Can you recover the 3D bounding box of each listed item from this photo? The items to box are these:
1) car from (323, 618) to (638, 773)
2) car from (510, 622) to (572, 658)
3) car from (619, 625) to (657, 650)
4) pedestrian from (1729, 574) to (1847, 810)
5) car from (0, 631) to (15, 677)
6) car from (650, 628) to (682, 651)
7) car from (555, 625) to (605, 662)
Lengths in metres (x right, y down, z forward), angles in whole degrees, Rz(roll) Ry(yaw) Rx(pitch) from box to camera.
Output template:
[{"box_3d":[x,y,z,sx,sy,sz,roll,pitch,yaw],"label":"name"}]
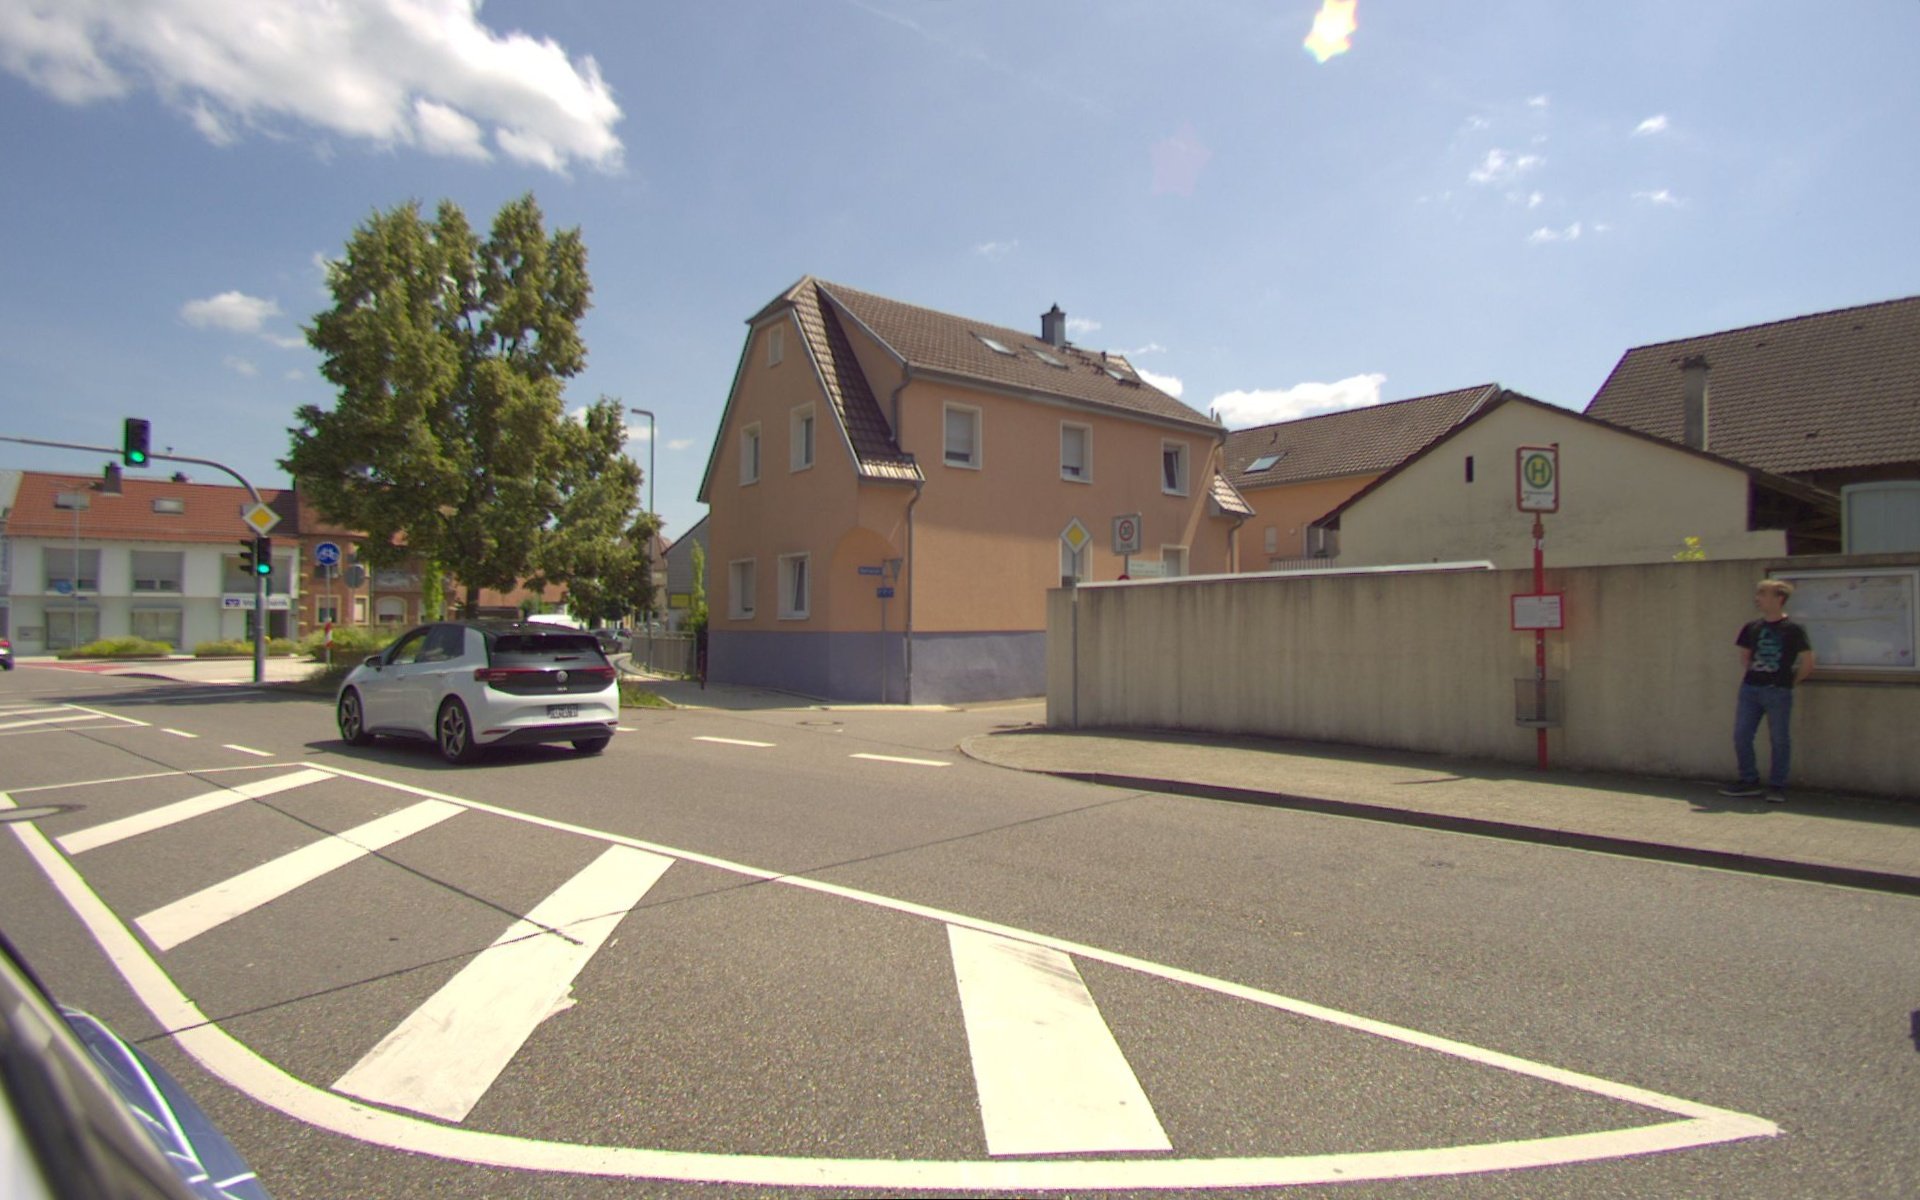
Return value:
[{"box_3d":[-5.765,1.002,11.979,4.130,1.519,1.777,-1,-3,40],"label":"car"},{"box_3d":[-28.546,2.728,69.166,2.142,2.363,5.113,1,-2,-1],"label":"car"},{"box_3d":[-31.694,3.744,99.768,2.142,2.363,5.113,1,-2,-1],"label":"car"},{"box_3d":[6.505,0.701,7.966,0.428,1.778,0.558,1,-3,-30],"label":"pedestrian"},{"box_3d":[-32.661,1.719,33.096,4.210,1.453,1.845,-1,-3,37],"label":"car"},{"box_3d":[-23.080,3.115,79.566,2.035,1.741,4.009,1,-2,-11],"label":"car"},{"box_3d":[-21.577,2.481,57.585,1.968,2.029,4.008,0,-2,-10],"label":"car"}]
